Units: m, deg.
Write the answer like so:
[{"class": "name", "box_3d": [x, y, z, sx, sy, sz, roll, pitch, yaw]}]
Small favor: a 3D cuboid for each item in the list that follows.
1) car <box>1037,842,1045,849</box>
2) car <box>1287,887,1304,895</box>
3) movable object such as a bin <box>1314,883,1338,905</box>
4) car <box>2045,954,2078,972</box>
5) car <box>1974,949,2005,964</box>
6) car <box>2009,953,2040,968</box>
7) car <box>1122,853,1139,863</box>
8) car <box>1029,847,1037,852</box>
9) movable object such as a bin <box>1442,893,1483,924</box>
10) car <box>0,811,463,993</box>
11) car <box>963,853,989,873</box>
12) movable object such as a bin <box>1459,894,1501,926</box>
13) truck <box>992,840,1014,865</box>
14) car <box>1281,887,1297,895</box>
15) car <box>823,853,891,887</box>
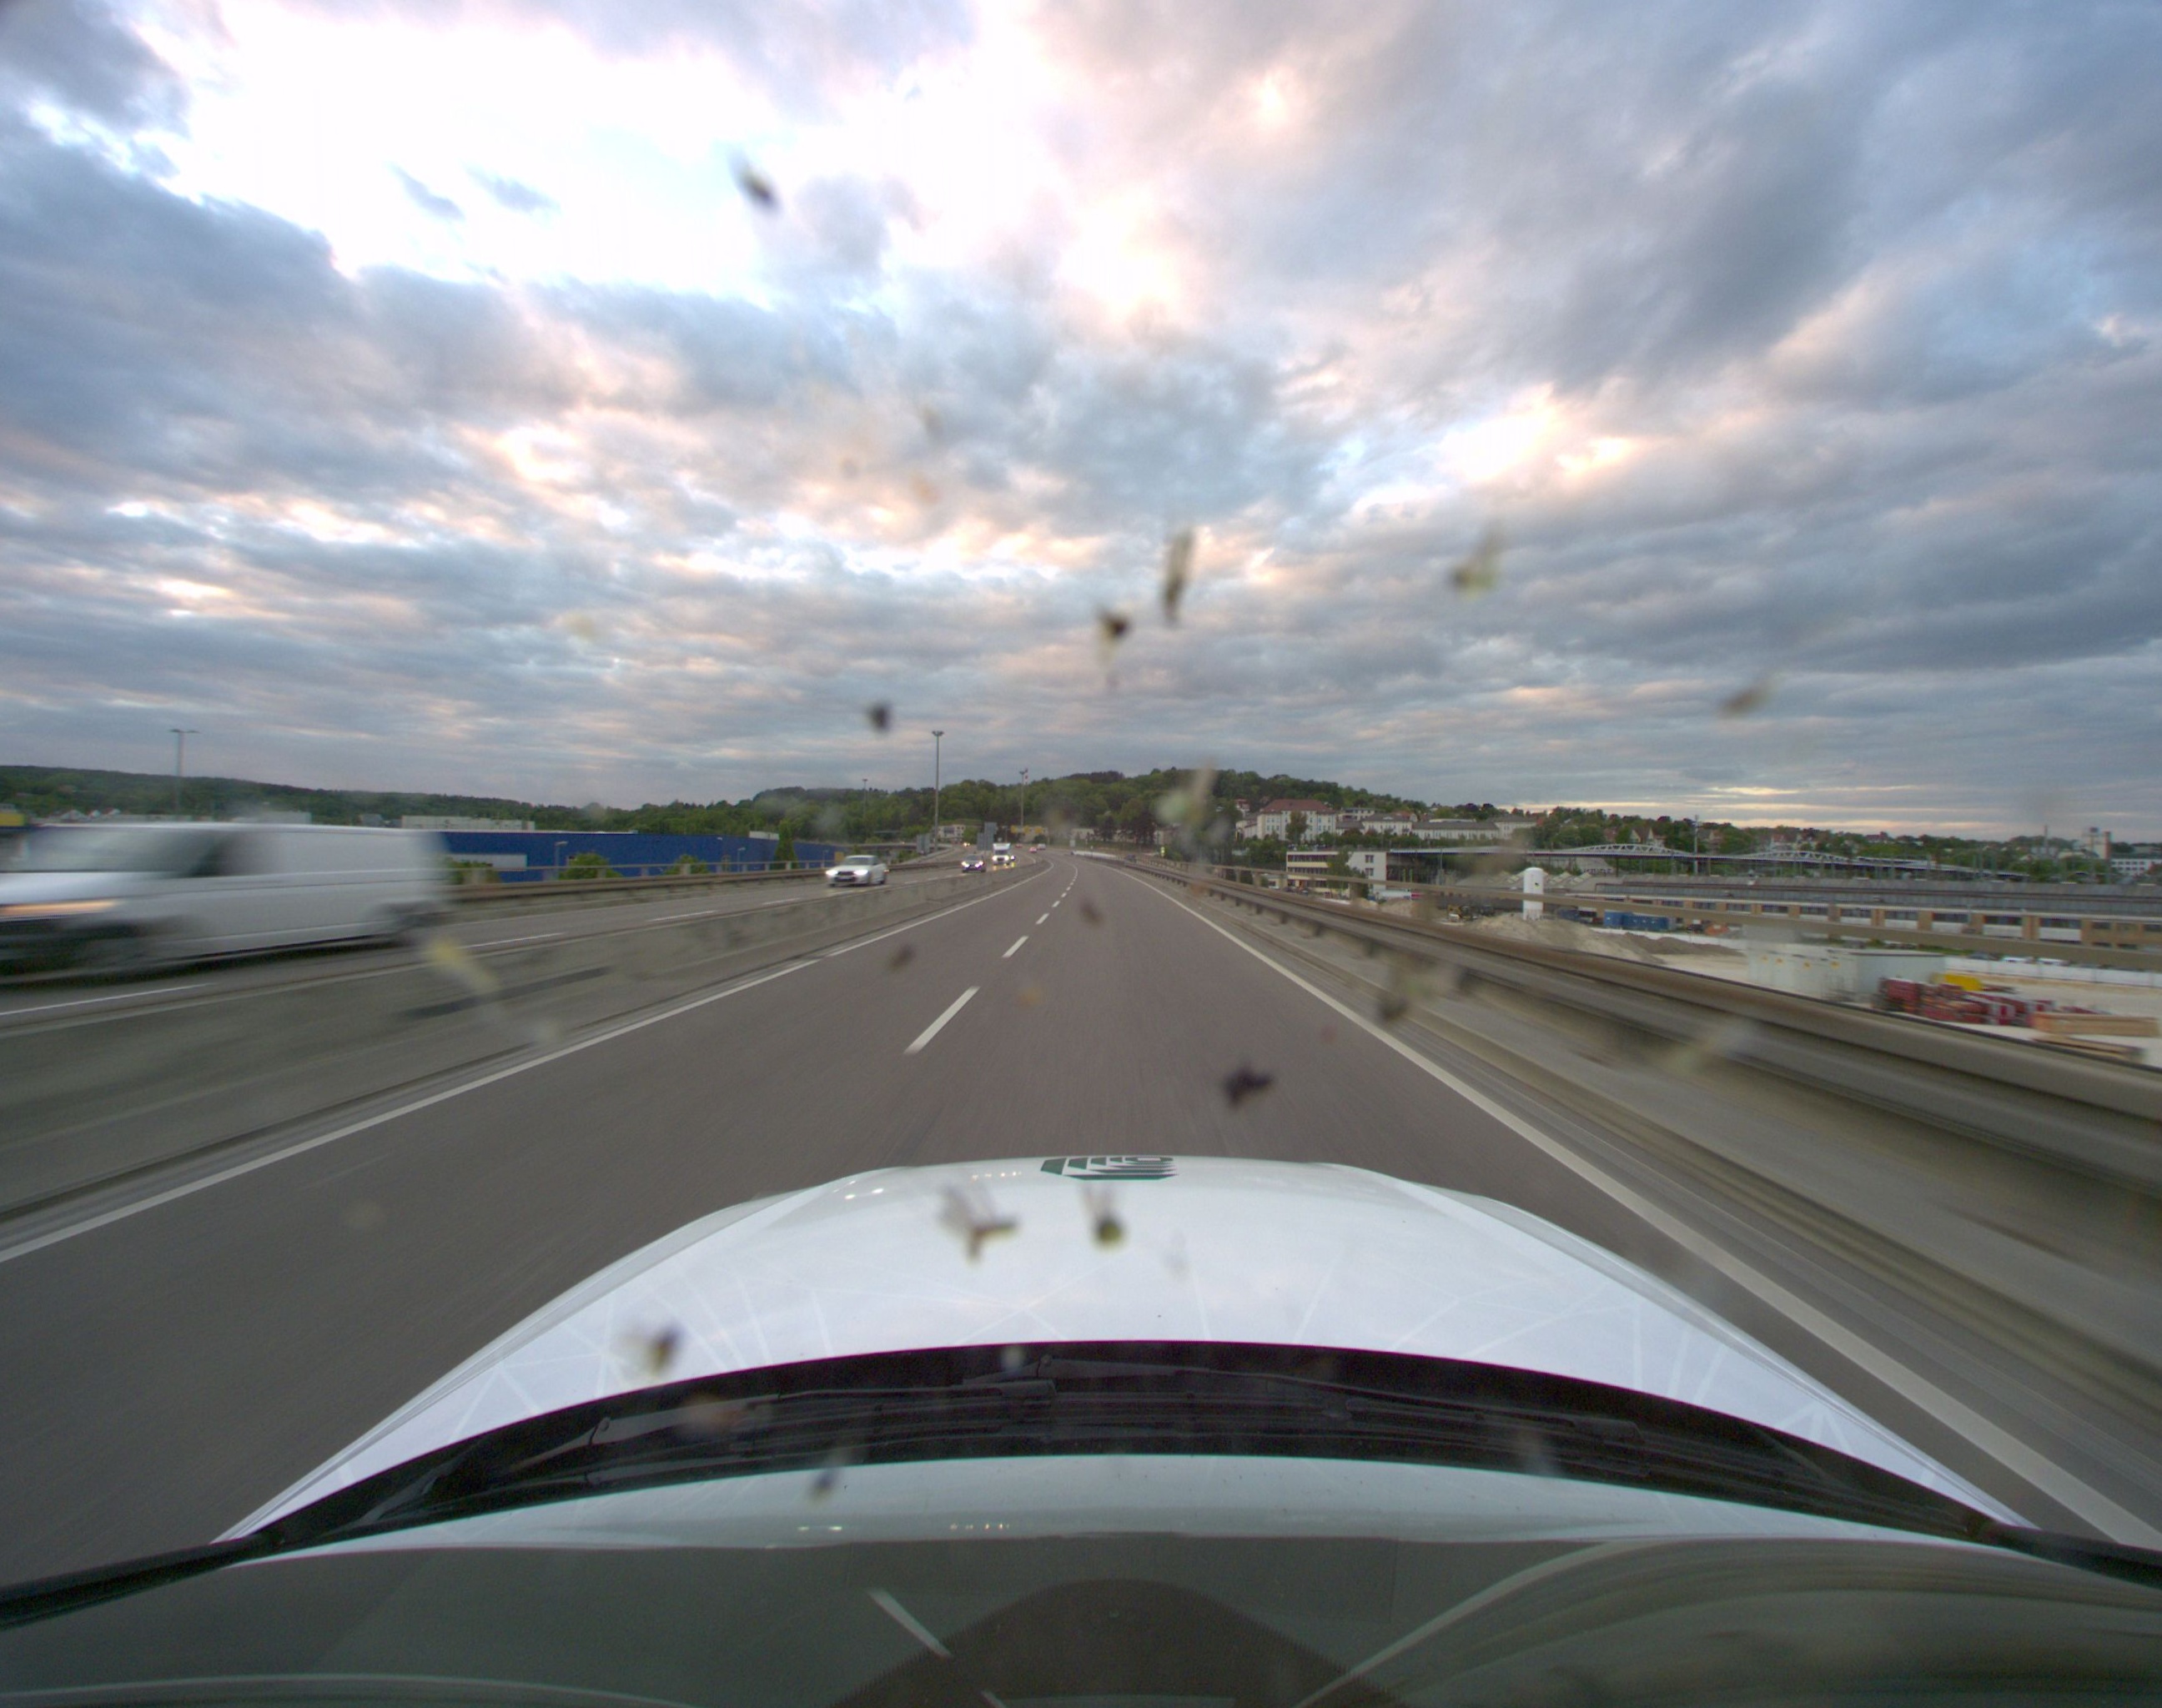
[{"class": "car", "box_3d": [-12.898, -2.655, 262.277, 1.997, 2.013, 4.088, 0, 2, -15]}, {"class": "car", "box_3d": [52.988, 9.203, 201.014, 4.016, 1.565, 1.813, 4, 2, -35]}, {"class": "movable object such as a bin", "box_3d": [55.148, 9.014, 183.532, 2.779, 4.310, 4.935, 6, -1, -13]}, {"class": "car", "box_3d": [113.444, 12.624, 94.214, 4.014, 1.714, 1.853, 6, 0, -33]}, {"class": "car", "box_3d": [110.568, 12.469, 99.057, 4.014, 1.420, 1.853, 6, 0, -33]}, {"class": "car", "box_3d": [111.878, 12.648, 96.557, 4.014, 1.420, 1.853, 6, 0, -33]}, {"class": "car", "box_3d": [9.785, 0.831, 160.999, 2.304, 1.763, 4.249, 1, 1, -10]}, {"class": "car", "box_3d": [-13.592, -1.195, 229.648, 1.631, 1.387, 3.986, -1, 1, -11]}, {"class": "movable object such as a bin", "box_3d": [61.510, 8.836, 131.330, 4.951, 4.310, 2.770, 6, -1, -16]}, {"class": "car", "box_3d": [-11.590, 0.508, 11.223, 1.894, 1.900, 5.460, -1, 0, 1]}, {"class": "car", "box_3d": [-8.466, 0.703, 65.927, 1.624, 1.441, 3.835, -1, 1, -1]}, {"class": "movable object such as a bin", "box_3d": [62.501, 8.810, 127.523, 4.951, 4.310, 2.770, 6, -1, -16]}, {"class": "truck", "box_3d": [-10.846, -0.189, 113.466, 2.527, 3.297, 7.442, 0, 0, -1]}, {"class": "car", "box_3d": [52.145, 9.225, 204.186, 4.016, 1.565, 1.813, 4, 2, -35]}, {"class": "car", "box_3d": [-10.518, 0.716, 38.672, 1.825, 1.503, 4.816, -1, 0, 0]}]
